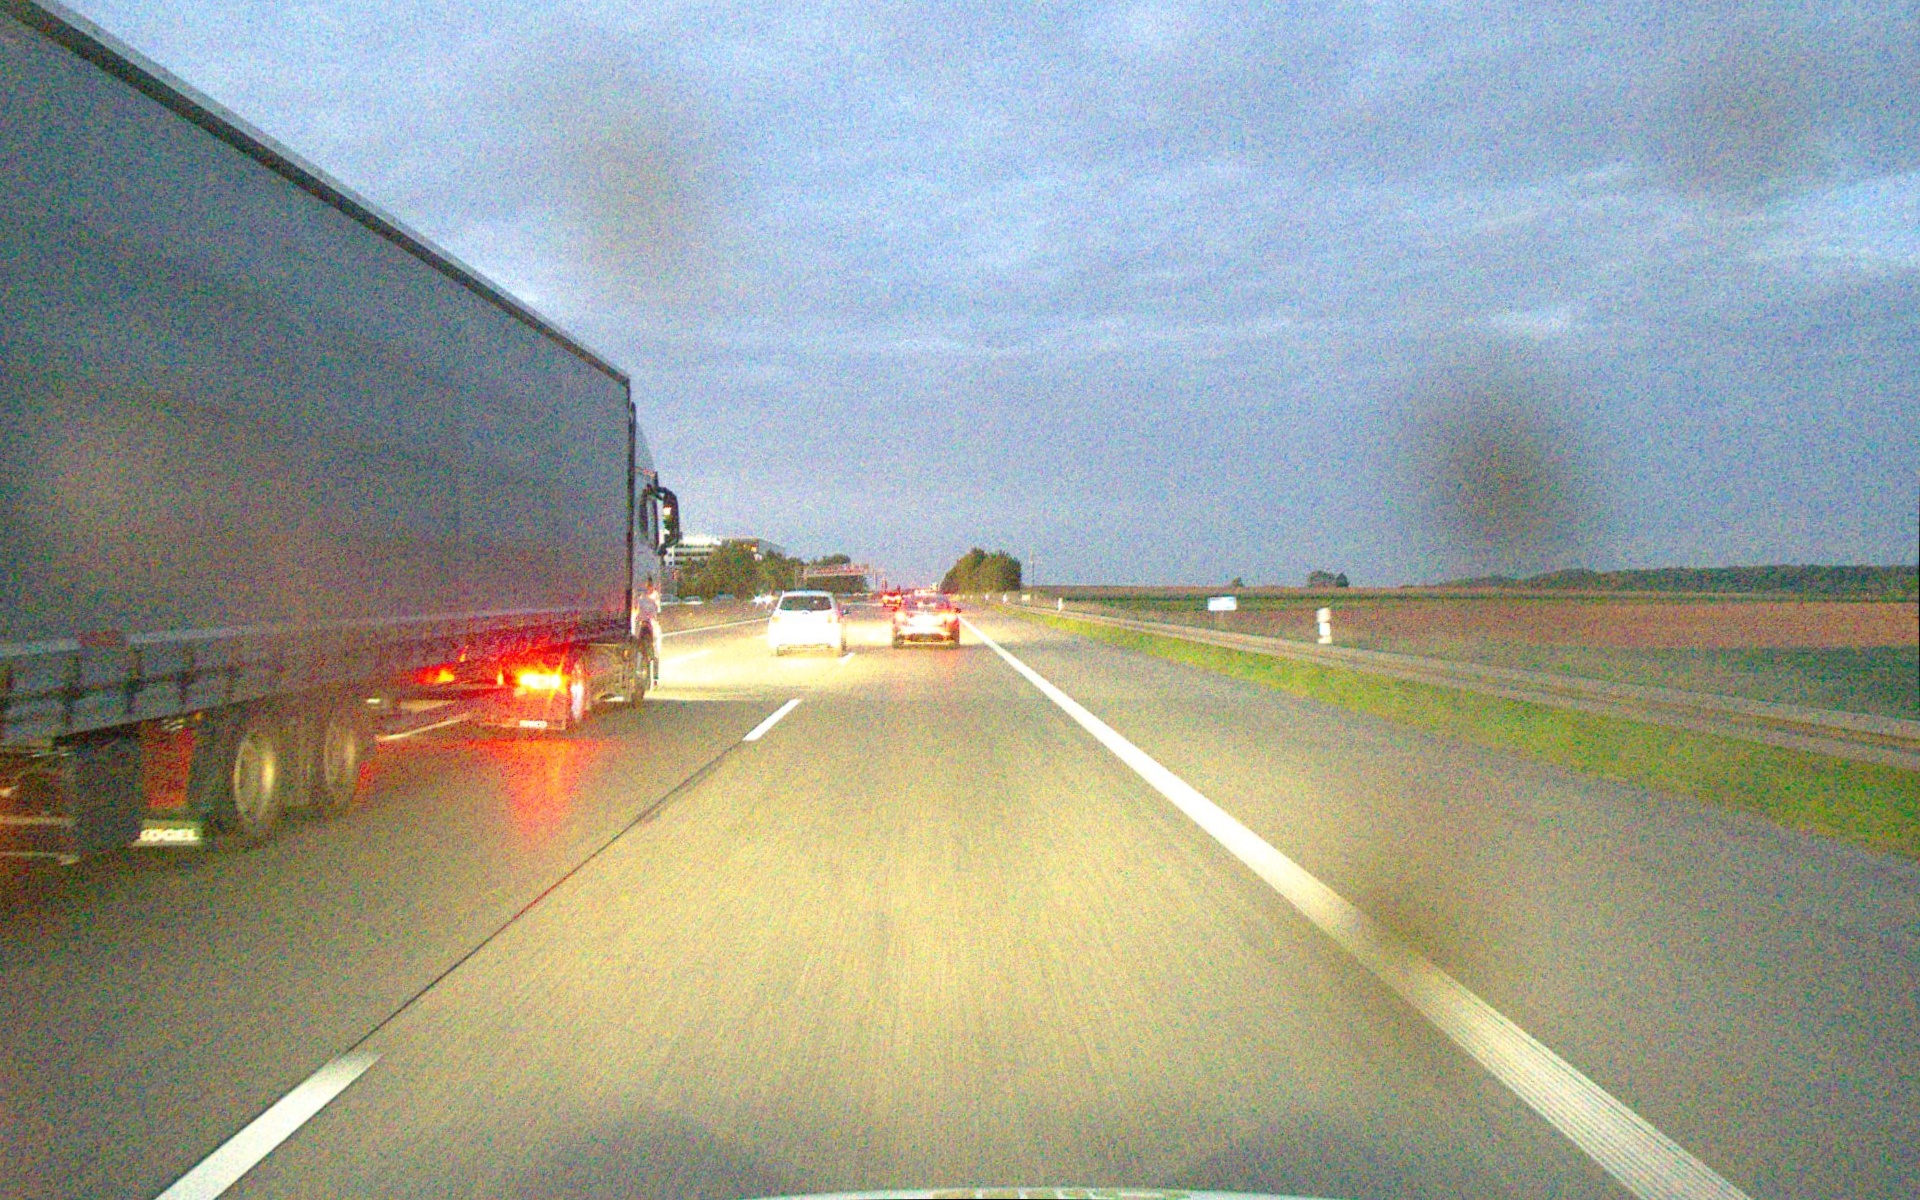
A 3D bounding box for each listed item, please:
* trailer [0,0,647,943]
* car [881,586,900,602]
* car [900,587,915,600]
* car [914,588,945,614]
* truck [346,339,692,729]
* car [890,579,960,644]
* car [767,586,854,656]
[{"bbox_3d":[-5.177,-0.700,12.975,2.737,4.157,14.524,0,0,0],"label":"trailer"},{"bbox_3d":[-6.794,-0.575,161.764,1.842,1.579,3.998,1,0,-2],"label":"car"},{"bbox_3d":[-7.802,-0.924,247.806,2.154,1.912,3.999,1,0,-1],"label":"car"},{"bbox_3d":[-1.913,0.070,103.453,1.842,1.579,3.998,1,0,-2],"label":"car"},{"bbox_3d":[-5.217,-0.702,20.750,2.721,4.164,6.102,0,0,0],"label":"truck"},{"bbox_3d":[-0.970,0.310,45.857,1.842,1.672,3.999,1,0,-1],"label":"car"},{"bbox_3d":[-3.537,0.490,39.720,1.709,1.551,4.413,1,0,-1],"label":"car"}]
